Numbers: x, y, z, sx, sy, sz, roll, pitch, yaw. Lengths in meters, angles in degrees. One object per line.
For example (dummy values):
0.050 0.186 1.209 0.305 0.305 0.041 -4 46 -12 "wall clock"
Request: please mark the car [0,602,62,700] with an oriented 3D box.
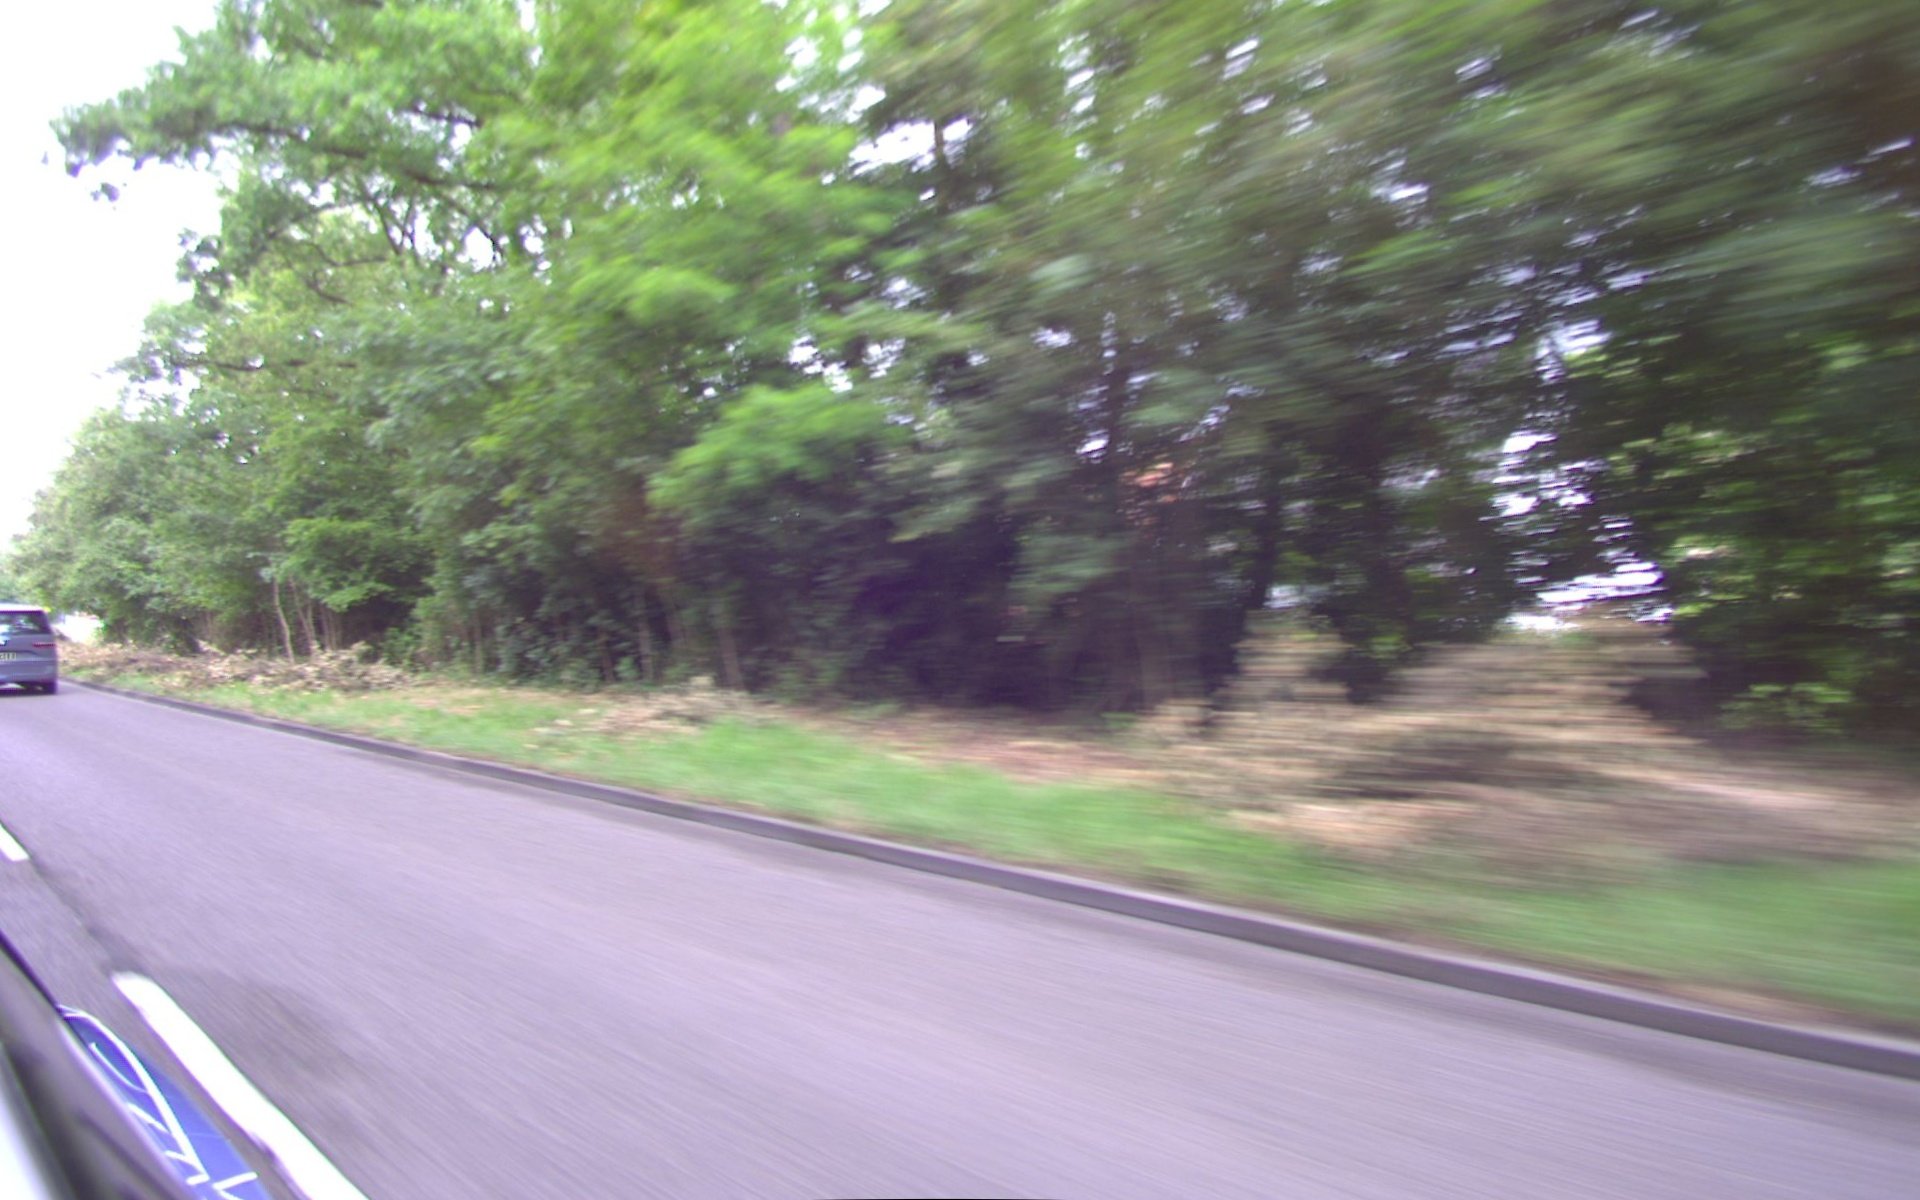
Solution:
-21.267 1.075 22.057 4.944 1.962 1.972 -1 0 42 "car"
